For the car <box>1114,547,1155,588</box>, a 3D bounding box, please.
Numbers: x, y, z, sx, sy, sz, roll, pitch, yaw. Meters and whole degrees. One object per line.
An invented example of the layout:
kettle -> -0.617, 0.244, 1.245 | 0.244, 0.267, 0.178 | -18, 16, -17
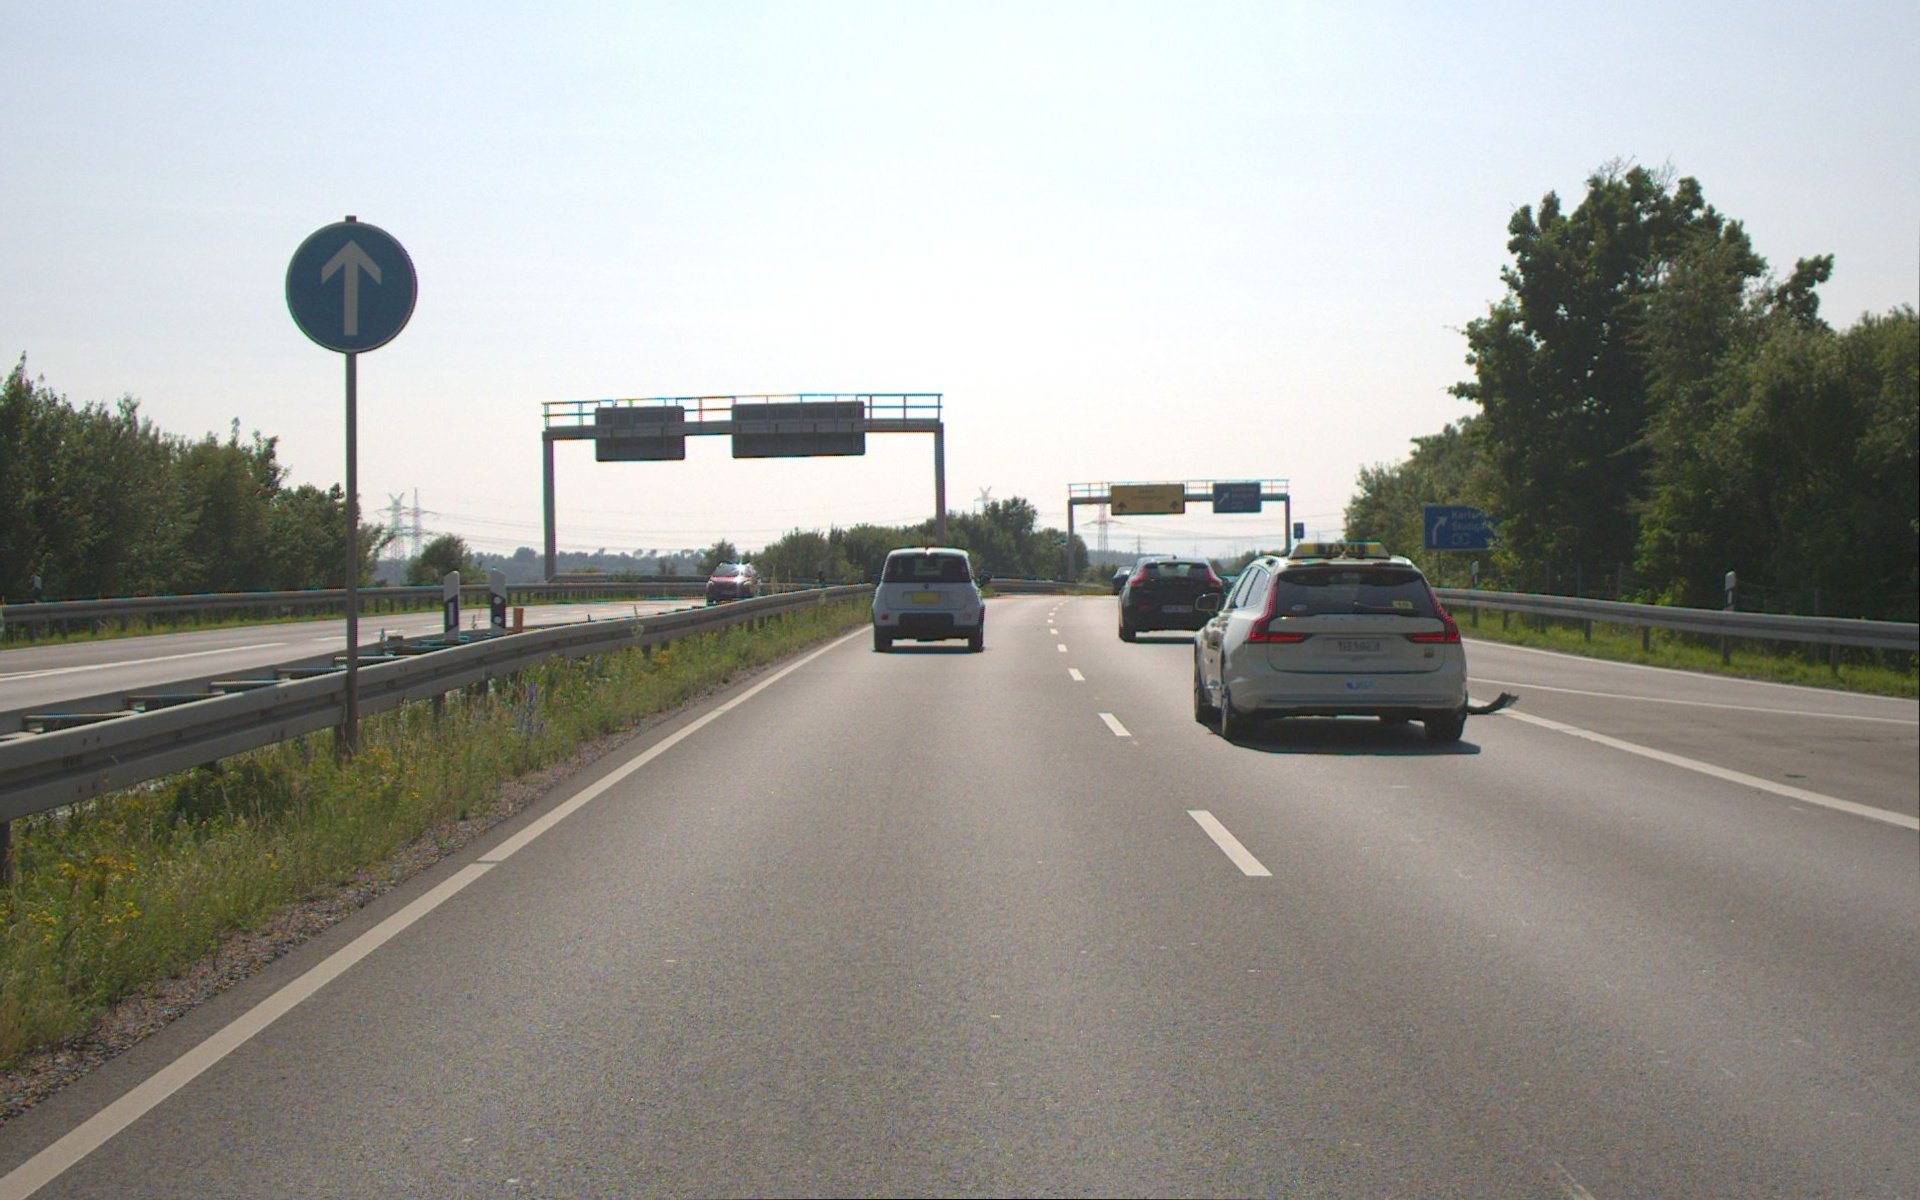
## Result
car -> 8.831, -1.649, 174.247 | 1.994, 2.007, 4.000 | 1, 1, 3

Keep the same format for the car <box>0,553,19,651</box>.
car -> -15.828, 0.137, 50.968 | 1.593, 1.489, 4.812 | -5, 0, 10

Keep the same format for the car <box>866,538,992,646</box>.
car -> -0.439, -0.094, 52.624 | 1.793, 1.498, 4.043 | -2, -1, 1

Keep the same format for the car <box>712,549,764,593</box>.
car -> -8.127, -1.053, 126.174 | 1.642, 1.569, 4.264 | 1, 1, 0

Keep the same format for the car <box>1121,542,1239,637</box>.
car -> 3.687, -0.164, 58.097 | 1.793, 1.538, 3.671 | 0, 0, 1

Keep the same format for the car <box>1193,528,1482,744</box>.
car -> 2.978, 0.250, 27.913 | 1.958, 1.596, 4.107 | 1, 1, 1
